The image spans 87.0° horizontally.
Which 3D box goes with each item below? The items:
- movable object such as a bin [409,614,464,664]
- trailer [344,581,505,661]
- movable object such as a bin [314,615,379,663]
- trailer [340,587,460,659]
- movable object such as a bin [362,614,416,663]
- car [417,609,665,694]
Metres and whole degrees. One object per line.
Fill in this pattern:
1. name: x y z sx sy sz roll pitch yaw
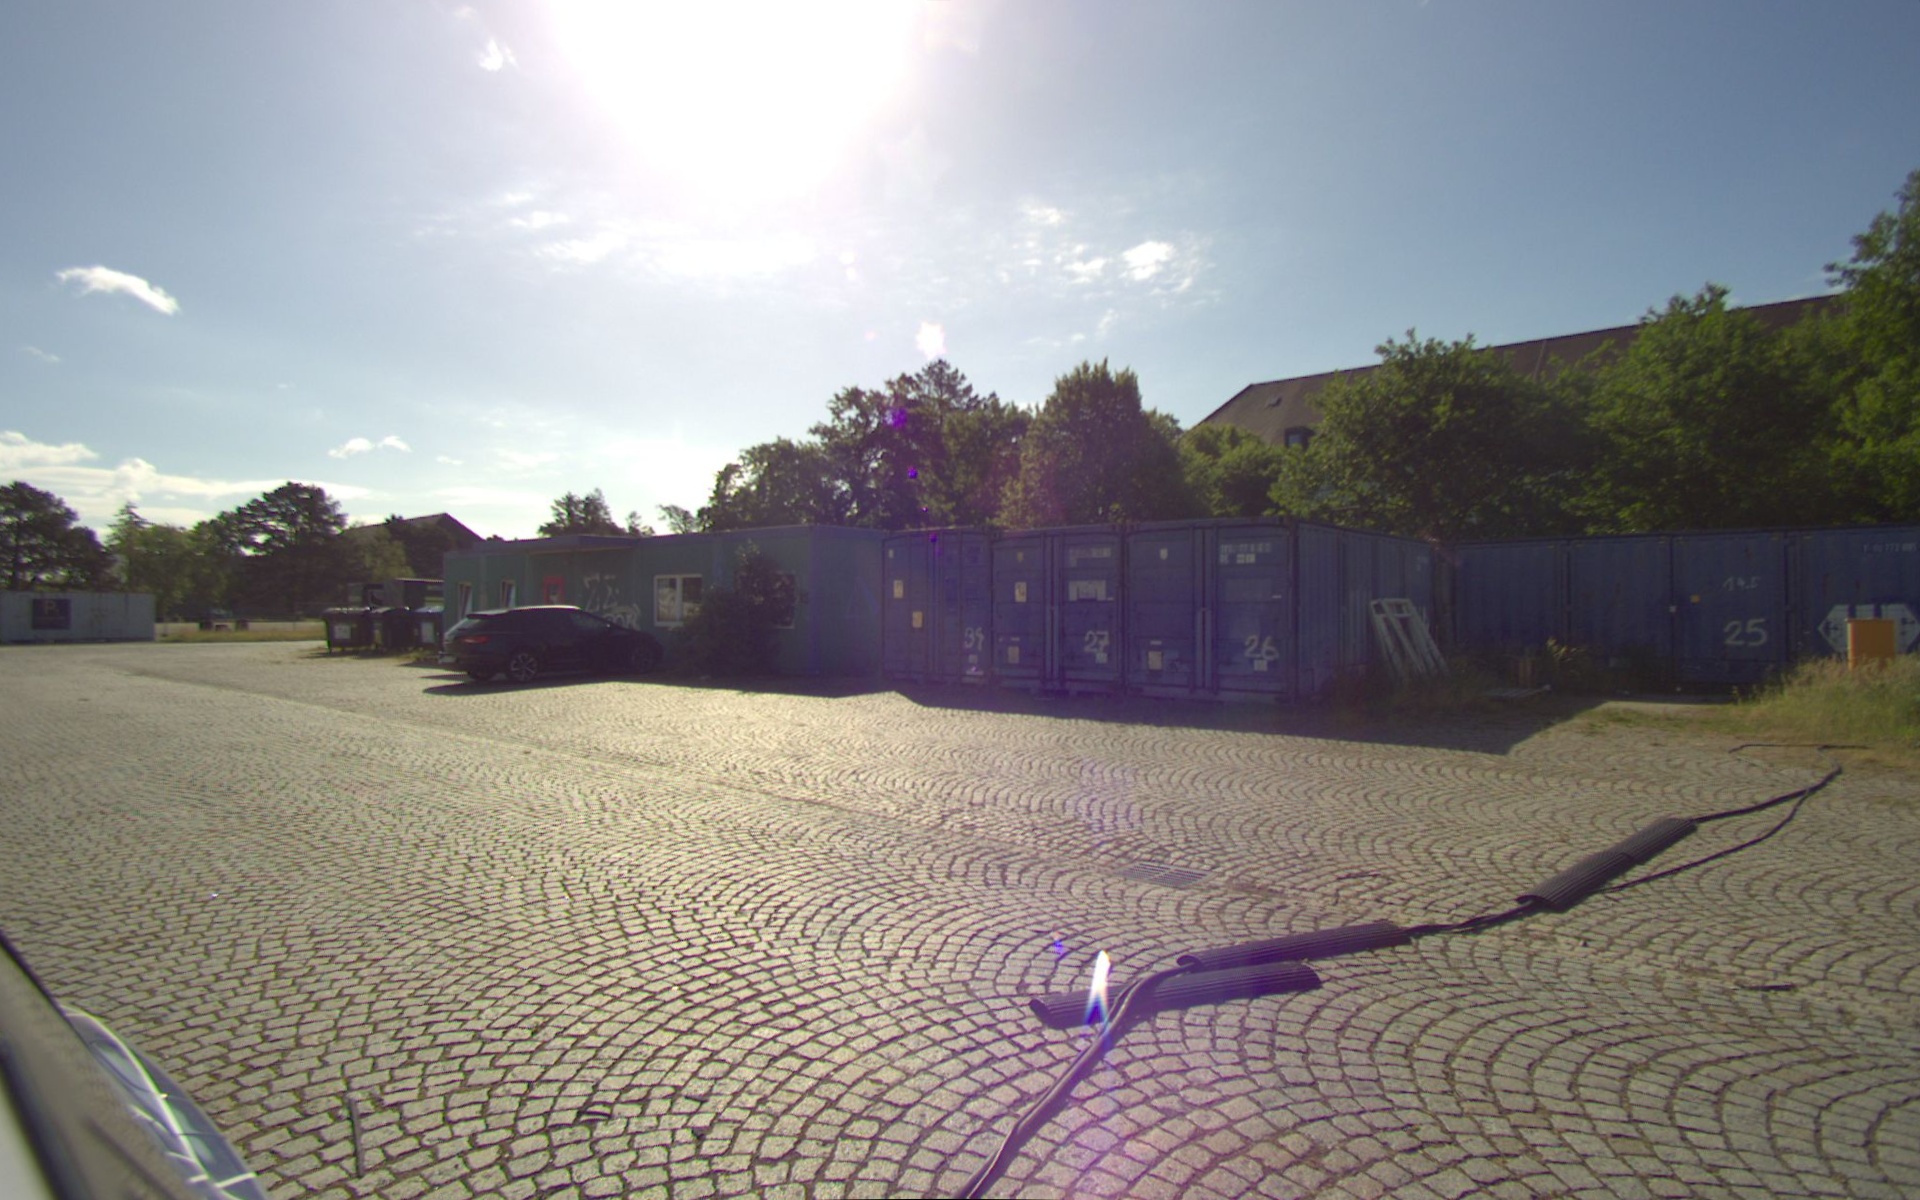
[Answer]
1. movable object such as a bin: -15.912 1.164 30.758 1.435 1.469 0.876 0 0 30
2. trailer: -18.570 0.670 35.265 1.948 2.587 4.594 0 0 37
3. movable object such as a bin: -19.564 1.220 32.310 1.416 1.469 1.158 0 0 -6
4. trailer: -20.398 0.795 36.895 2.044 2.488 3.349 0 0 41
5. movable object such as a bin: -17.657 1.173 31.296 1.439 1.469 1.007 0 0 41
6. car: -8.284 0.935 20.299 1.929 1.460 4.210 0 0 39
